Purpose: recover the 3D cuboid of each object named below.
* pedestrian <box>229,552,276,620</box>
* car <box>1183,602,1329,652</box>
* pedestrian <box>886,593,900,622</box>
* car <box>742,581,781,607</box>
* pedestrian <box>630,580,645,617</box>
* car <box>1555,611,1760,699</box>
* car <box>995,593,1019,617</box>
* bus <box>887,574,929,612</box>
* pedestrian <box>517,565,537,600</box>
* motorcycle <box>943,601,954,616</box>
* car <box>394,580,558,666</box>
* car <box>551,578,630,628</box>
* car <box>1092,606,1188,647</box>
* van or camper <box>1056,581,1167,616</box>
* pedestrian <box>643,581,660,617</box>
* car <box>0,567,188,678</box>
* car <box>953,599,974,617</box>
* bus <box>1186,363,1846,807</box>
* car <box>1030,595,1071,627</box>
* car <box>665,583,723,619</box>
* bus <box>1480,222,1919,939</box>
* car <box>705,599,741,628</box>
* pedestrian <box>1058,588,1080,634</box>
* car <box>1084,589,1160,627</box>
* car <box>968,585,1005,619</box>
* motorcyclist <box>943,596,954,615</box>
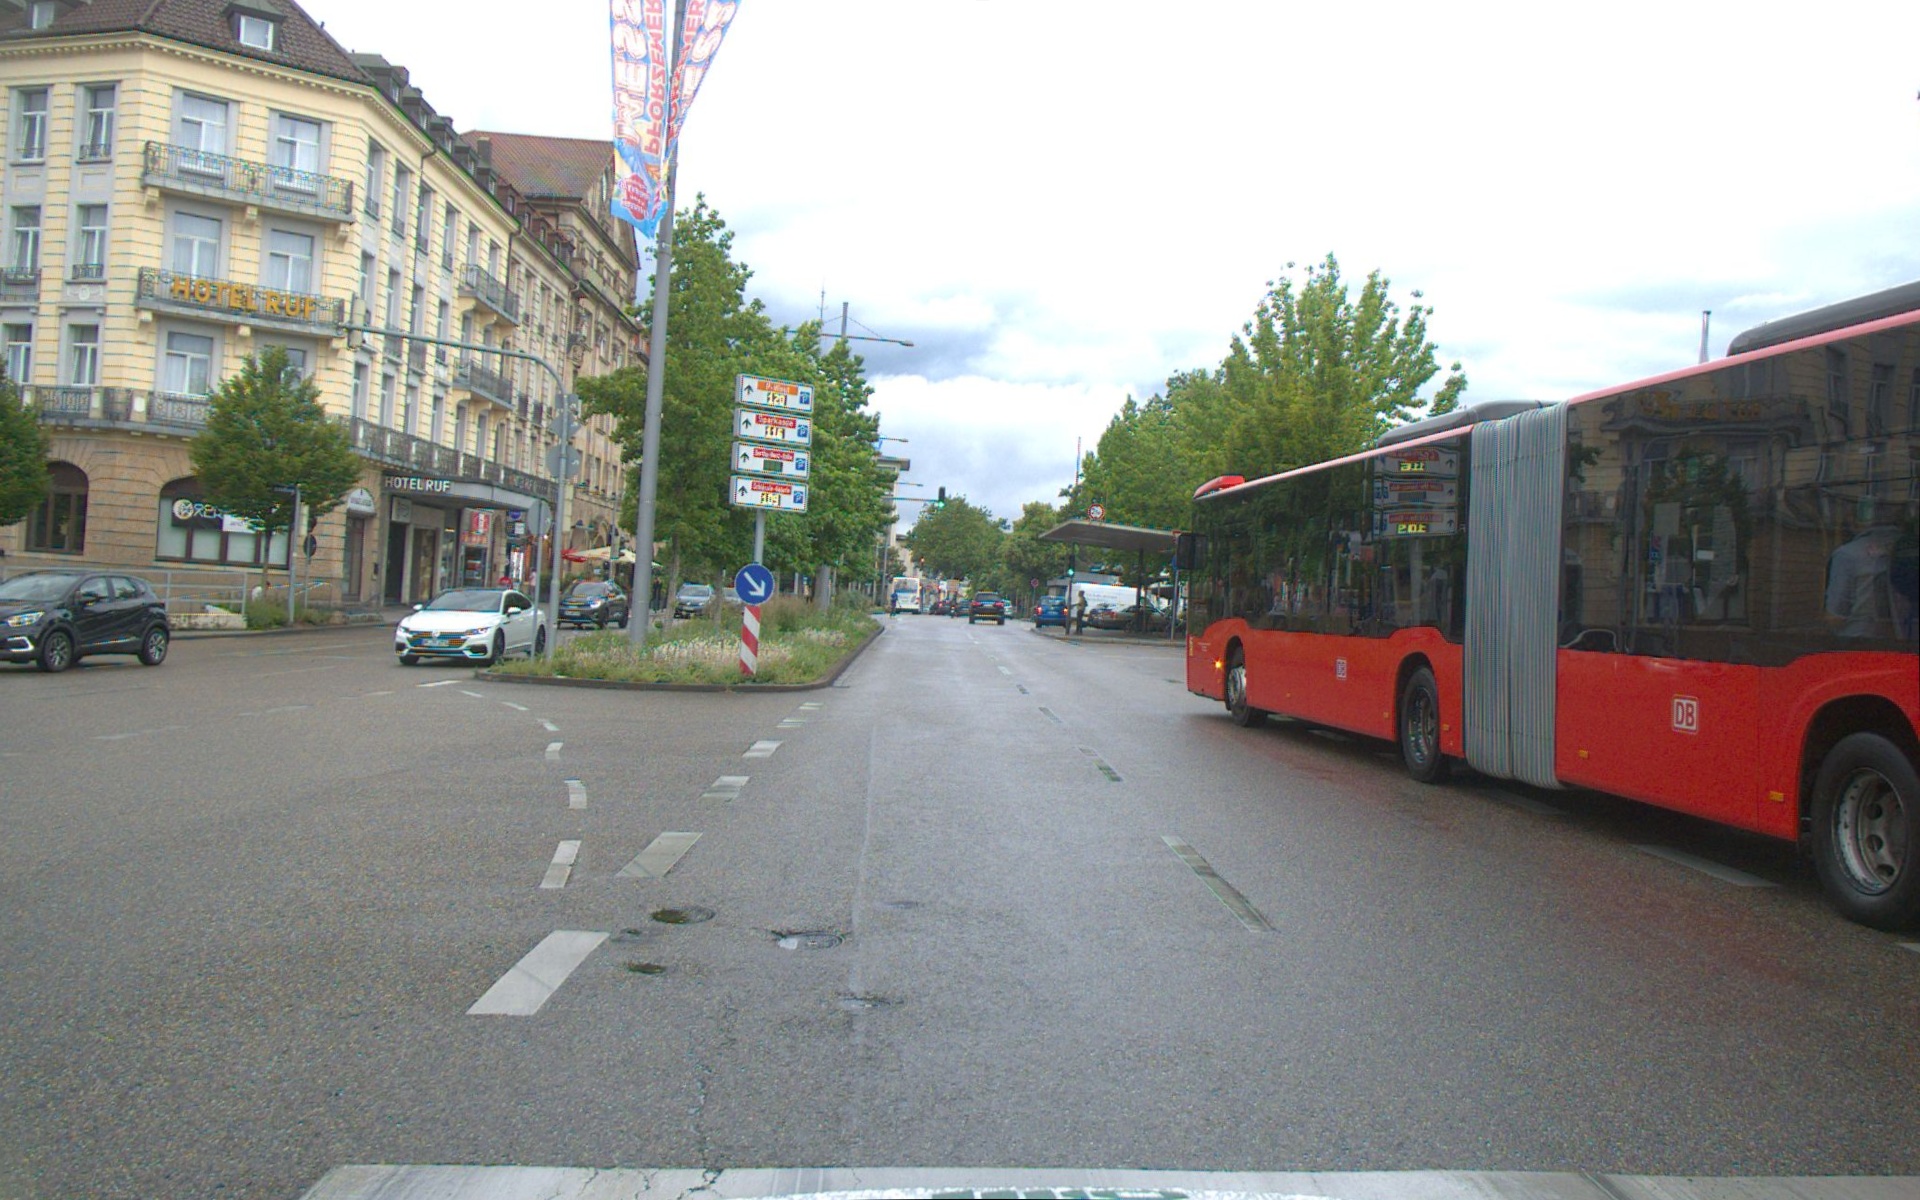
[{"bbox_3d":[-20.273,-0.388,47.410,0.845,1.911,1.022,2,0,-1],"label":"pedestrian"},{"bbox_3d":[9.103,0.820,51.176,1.764,1.409,4.303,1,0,-41],"label":"car"},{"bbox_3d":[-4.066,0.459,100.975,0.742,1.730,0.560,2,0,6],"label":"pedestrian"},{"bbox_3d":[-11.839,-0.357,98.908,1.718,1.393,4.061,2,2,2],"label":"car"},{"bbox_3d":[-15.680,-0.088,80.378,0.563,1.762,0.609,2,0,-1],"label":"pedestrian"},{"bbox_3d":[13.249,0.997,31.763,1.809,1.477,4.664,1,0,-2],"label":"car"},{"bbox_3d":[3.928,0.405,137.873,1.752,1.892,3.999,2,0,-1],"label":"car"},{"bbox_3d":[-4.851,-0.631,155.344,3.684,3.265,15.521,1,0,-1],"label":"bus"},{"bbox_3d":[-19.354,-0.774,73.928,0.656,1.537,0.512,2,0,-39],"label":"pedestrian"},{"bbox_3d":[-0.851,0.618,124.078,0.750,1.095,2.175,2,0,-1],"label":"motorcycle"},{"bbox_3d":[-9.294,0.387,32.177,1.689,1.405,4.861,0,2,1],"label":"car"},{"bbox_3d":[-11.777,0.092,52.928,1.597,1.502,4.026,2,0,0],"label":"car"},{"bbox_3d":[8.958,1.315,82.379,4.273,1.890,1.988,2,0,-21],"label":"car"},{"bbox_3d":[9.424,-0.073,102.958,6.675,2.049,2.364,2,-1,-27],"label":"van or camper"},{"bbox_3d":[-14.983,-0.052,80.432,0.661,1.731,0.633,2,0,-1],"label":"pedestrian"},{"bbox_3d":[-14.487,0.297,26.795,1.734,1.557,4.082,2,2,6],"label":"car"},{"bbox_3d":[0.276,0.655,140.621,1.673,1.473,3.999,1,0,-1],"label":"car"},{"bbox_3d":[4.854,-0.116,17.368,2.689,3.229,10.184,1,0,-5],"label":"bus"},{"bbox_3d":[4.638,0.554,85.445,1.779,1.557,3.999,1,0,-1],"label":"car"},{"bbox_3d":[-11.533,0.036,72.028,1.718,1.466,4.060,2,0,2],"label":"car"},{"bbox_3d":[5.591,-0.070,8.523,2.689,3.229,8.113,1,0,-4],"label":"bus"},{"bbox_3d":[-12.183,0.673,85.078,1.722,1.393,4.053,2,0,-7],"label":"car"},{"bbox_3d":[4.393,0.453,66.656,0.705,1.822,0.663,2,0,-12],"label":"pedestrian"},{"bbox_3d":[9.494,0.459,96.770,3.929,2.049,1.988,2,0,-21],"label":"car"},{"bbox_3d":[1.508,0.098,94.897,1.953,1.837,4.689,1,0,-1],"label":"car"},{"bbox_3d":[-0.850,0.410,124.079,0.749,1.355,0.866,2,0,-1],"label":"motorcyclist"}]
